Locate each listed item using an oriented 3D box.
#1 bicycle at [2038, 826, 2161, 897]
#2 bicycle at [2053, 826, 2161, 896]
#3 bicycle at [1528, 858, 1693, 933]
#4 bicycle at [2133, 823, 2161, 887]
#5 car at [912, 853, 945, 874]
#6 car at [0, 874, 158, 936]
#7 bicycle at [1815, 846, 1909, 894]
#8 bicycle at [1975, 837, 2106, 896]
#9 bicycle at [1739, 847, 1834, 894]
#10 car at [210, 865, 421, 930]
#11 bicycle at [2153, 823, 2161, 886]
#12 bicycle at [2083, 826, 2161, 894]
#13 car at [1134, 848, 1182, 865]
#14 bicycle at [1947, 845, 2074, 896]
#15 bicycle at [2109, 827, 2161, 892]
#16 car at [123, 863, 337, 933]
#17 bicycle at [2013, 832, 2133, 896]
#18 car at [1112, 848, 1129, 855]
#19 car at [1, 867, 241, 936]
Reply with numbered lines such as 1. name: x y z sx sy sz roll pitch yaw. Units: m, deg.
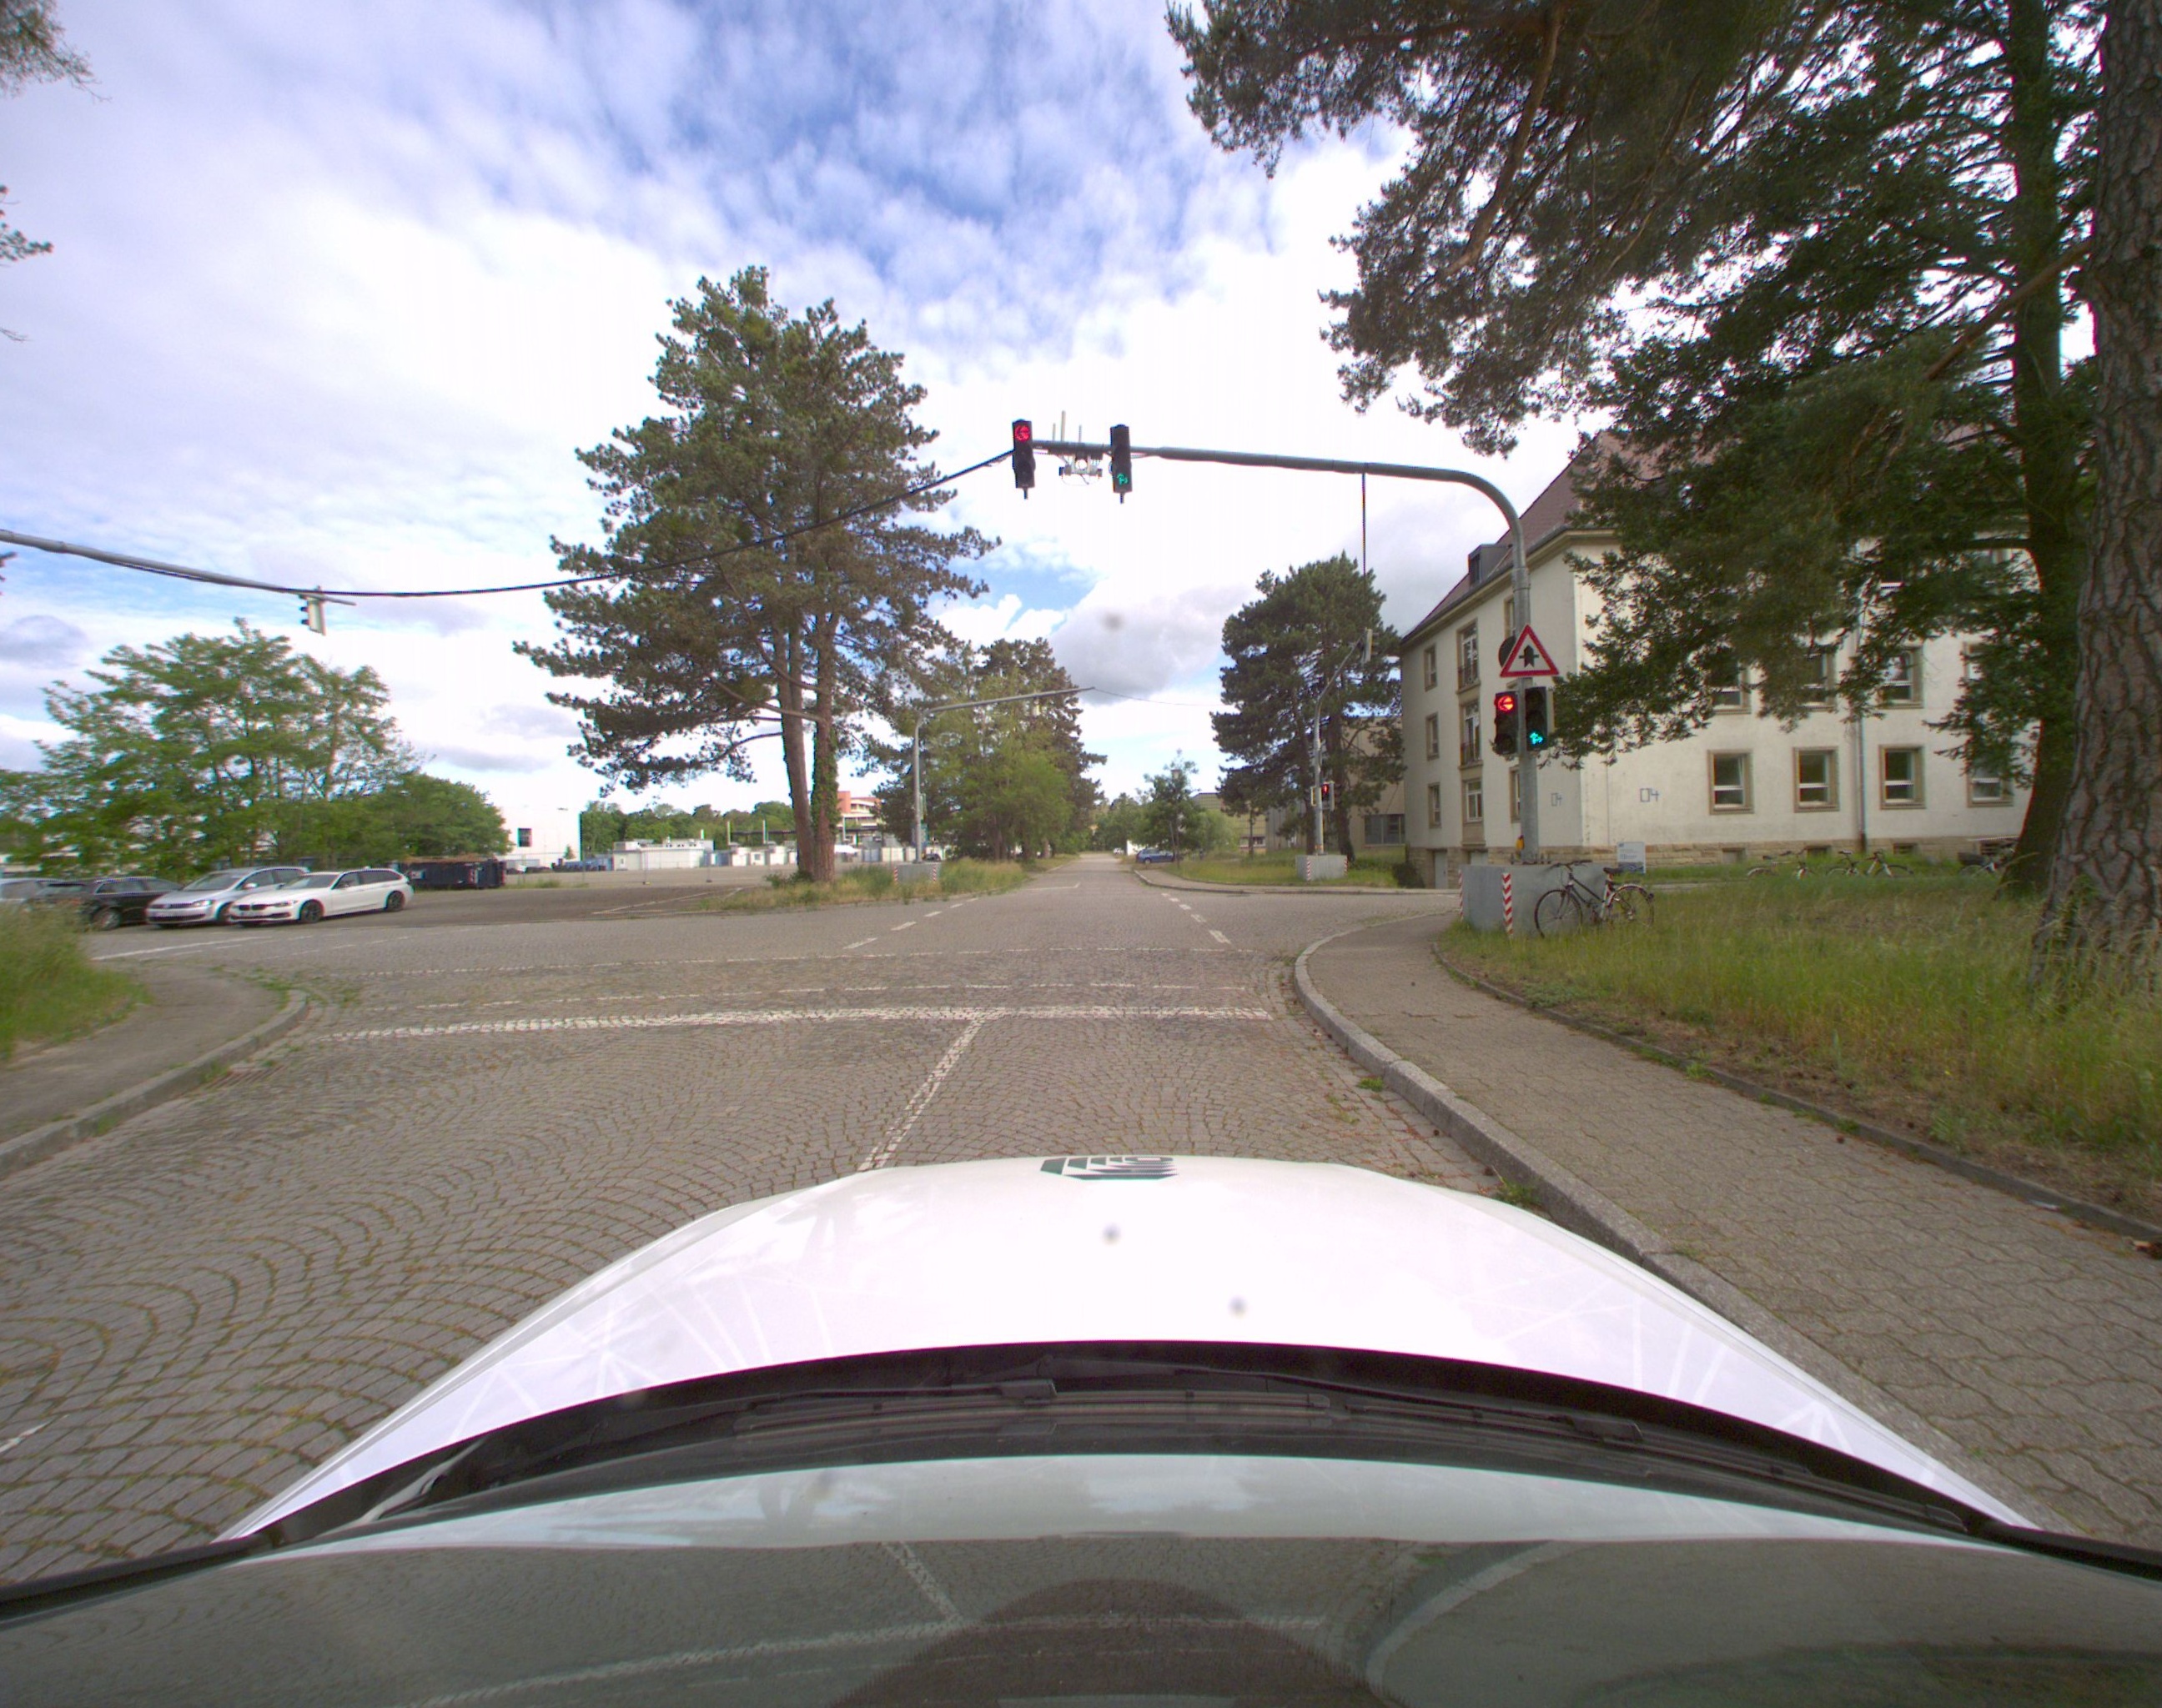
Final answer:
1. bicycle: 20.386 0.120 16.212 0.435 1.320 2.051 -1 0 7
2. bicycle: 20.957 0.114 16.398 0.573 1.320 1.979 -1 0 7
3. bicycle: 6.654 0.513 10.276 1.693 0.874 0.573 -2 0 1
4. bicycle: 22.520 0.023 16.342 0.552 1.320 1.856 -1 0 7
5. car: -11.493 0.675 61.610 1.607 1.487 4.001 -1 0 1
6. car: -30.493 1.456 23.941 1.788 1.566 4.323 -2 0 -2
7. bicycle: 17.159 0.346 17.907 1.531 1.014 0.543 -1 0 0
8. bicycle: 19.314 0.232 16.457 0.538 1.101 1.905 -1 0 7
9. bicycle: 15.404 0.353 17.791 1.615 0.980 0.530 -1 0 0
10. car: -22.566 1.208 24.331 1.805 1.441 4.739 -2 2 -1
11. bicycle: 23.130 0.014 16.437 0.550 1.320 1.942 -1 0 7
12. bicycle: 21.546 0.110 16.413 0.503 1.320 1.923 -1 0 7
13. car: 7.179 0.214 76.258 4.331 1.422 1.999 -2 0 -1
14. bicycle: 18.663 0.309 16.414 0.538 0.949 1.905 -1 0 6
15. bicycle: 21.994 0.105 16.379 0.389 1.320 1.922 -1 0 7
16. car: -25.060 1.219 24.261 1.817 1.584 4.324 -2 3 -2
17. bicycle: 19.888 0.184 16.378 0.538 1.215 1.642 -1 0 6
18. car: 9.354 -0.590 193.351 3.980 1.398 1.997 -2 0 -5
19. car: -27.816 1.309 23.877 1.850 1.501 4.324 -2 3 -2
